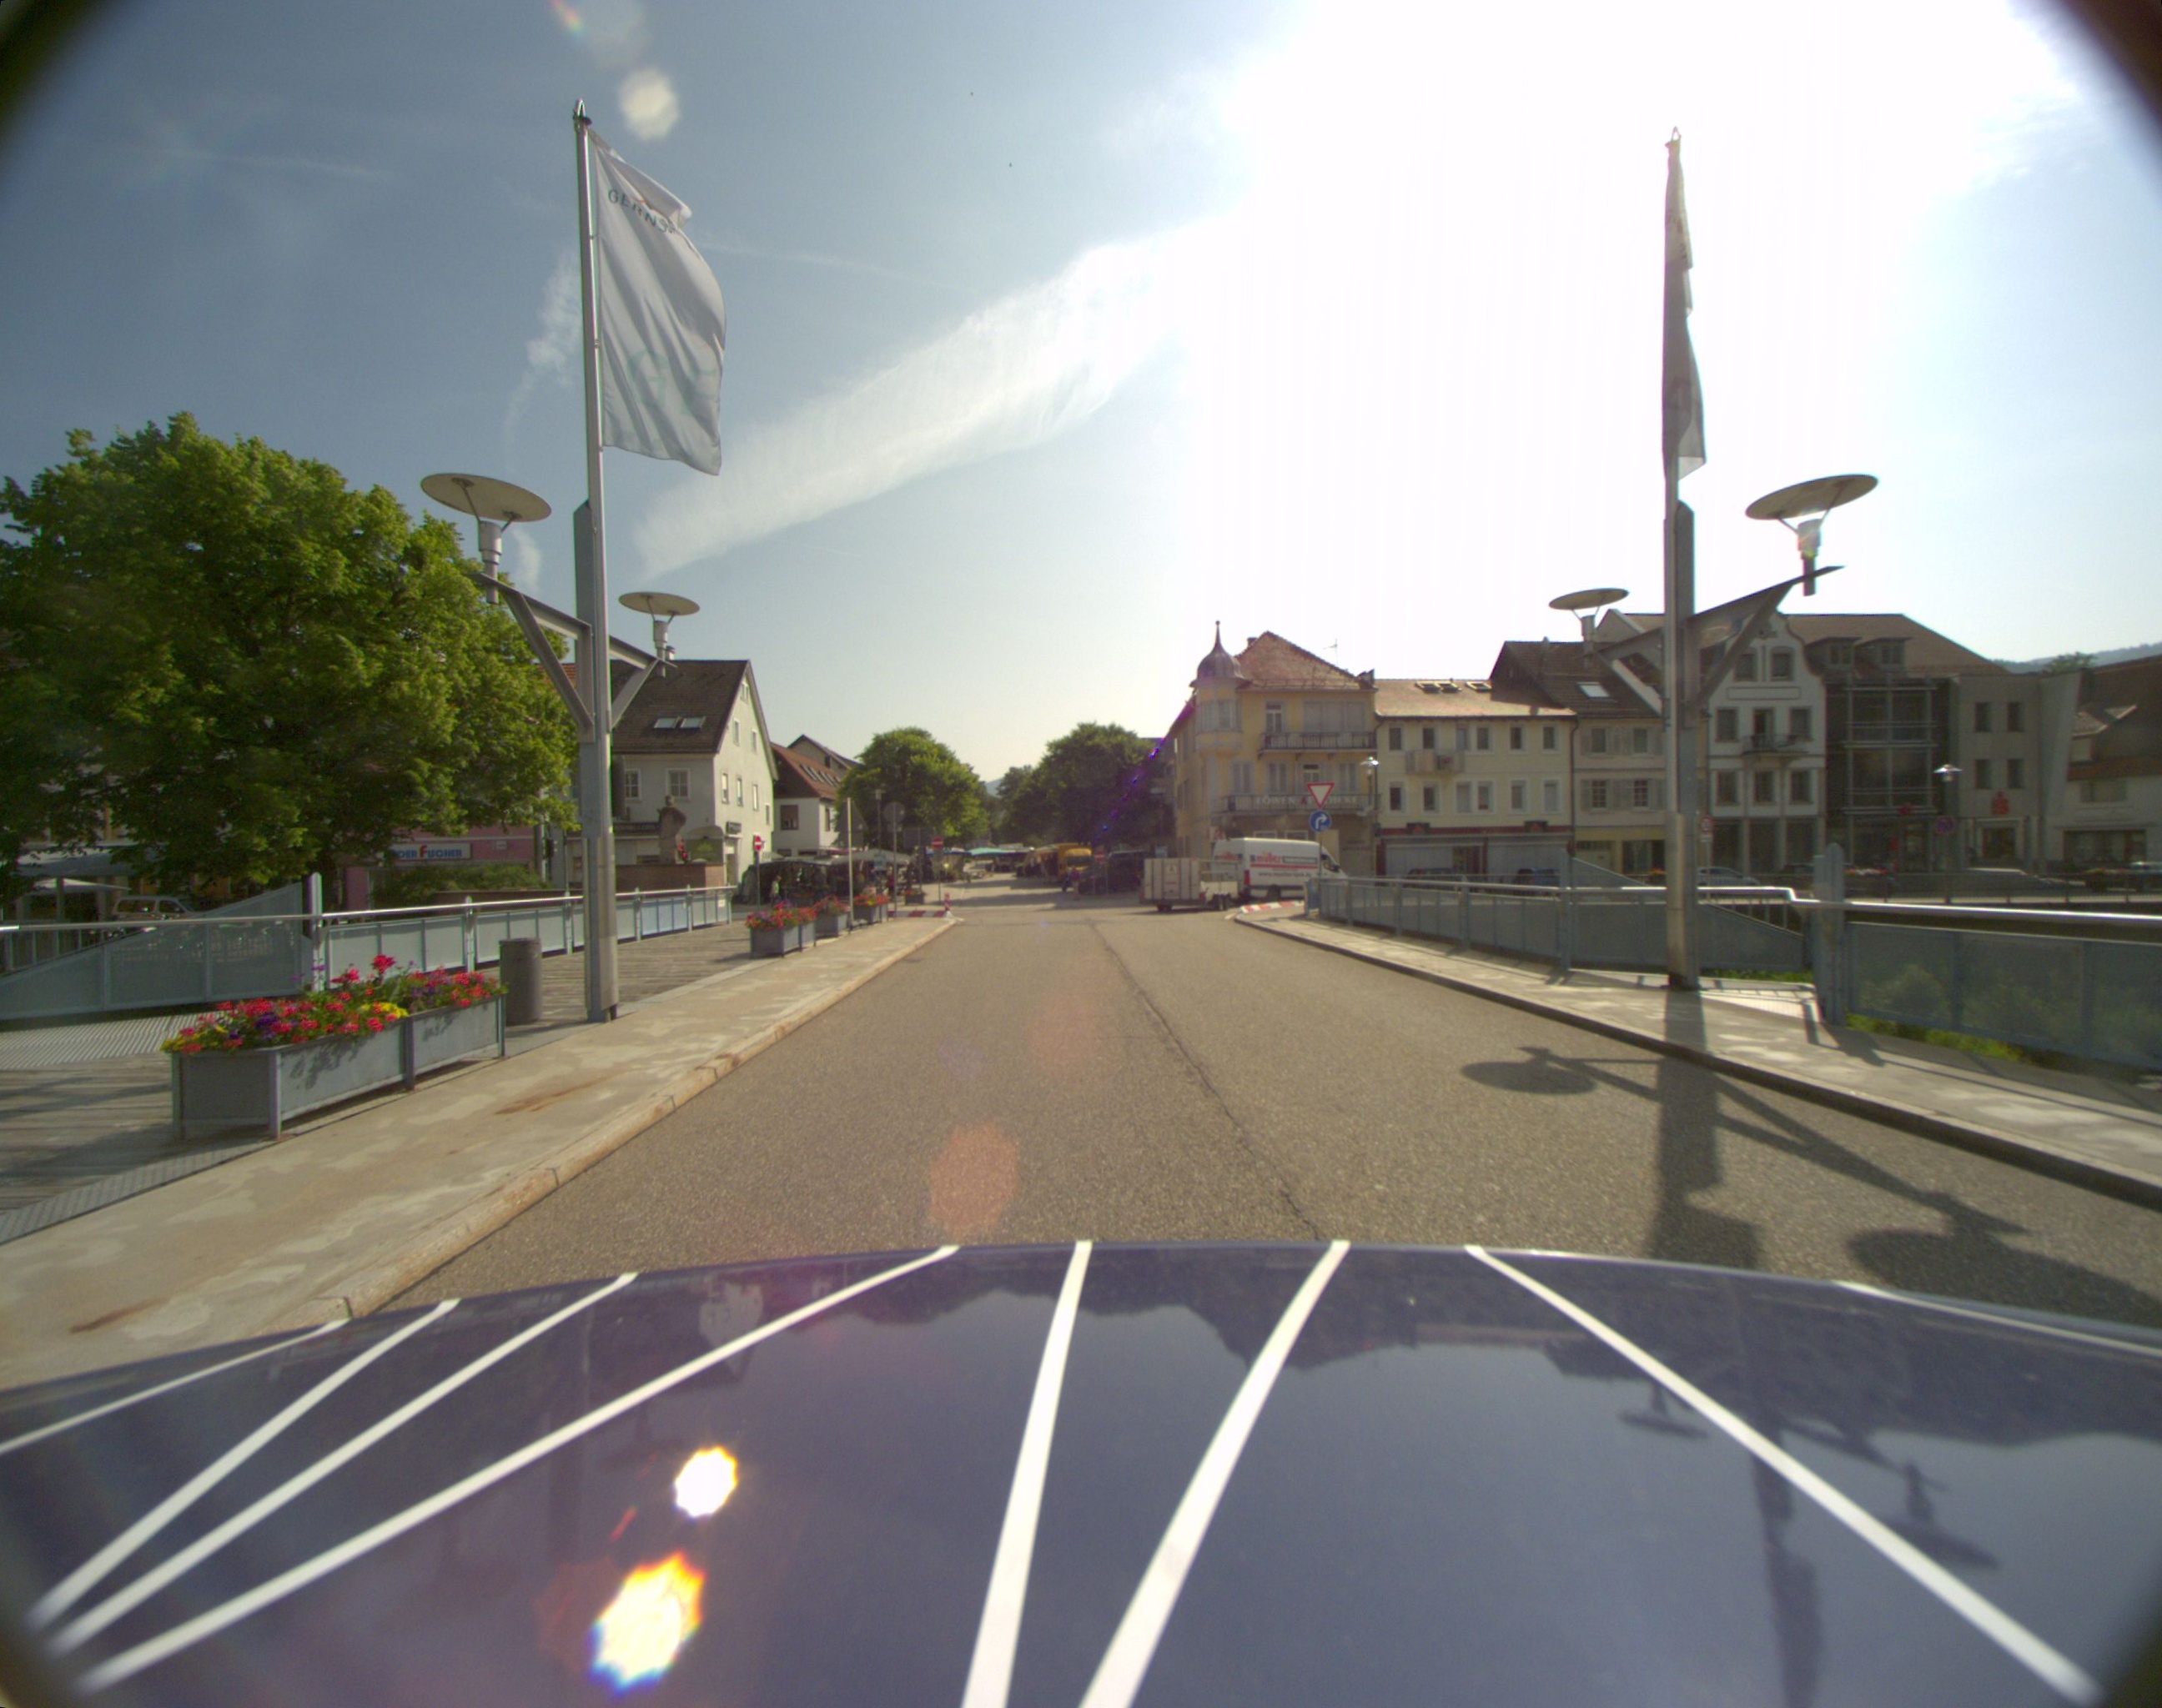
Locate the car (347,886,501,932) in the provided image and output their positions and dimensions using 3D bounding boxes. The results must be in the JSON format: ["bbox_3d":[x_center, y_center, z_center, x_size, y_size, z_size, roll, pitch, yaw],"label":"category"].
[{"bbox_3d":[-27.121,2.235,31.505,4.499,1.557,1.823,-2,2,-7],"label":"car"}]

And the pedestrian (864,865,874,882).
[{"bbox_3d":[-16.139,1.484,57.894,0.572,1.194,0.650,1,1,-3],"label":"pedestrian"}]

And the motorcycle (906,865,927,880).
[{"bbox_3d":[-12.951,1.444,59.754,1.532,1.189,0.643,1,0,-4],"label":"motorcycle"}]

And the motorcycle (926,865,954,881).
[{"bbox_3d":[-11.039,1.505,59.420,2.002,1.189,0.644,1,0,9],"label":"motorcycle"}]

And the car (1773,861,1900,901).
[{"bbox_3d":[32.564,1.131,32.809,3.969,1.551,1.683,-2,0,-4],"label":"car"}]

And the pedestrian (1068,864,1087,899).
[{"bbox_3d":[-0.167,1.391,38.367,0.678,1.705,0.618,-1,1,27],"label":"pedestrian"}]

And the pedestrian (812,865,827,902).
[{"bbox_3d":[-14.143,1.595,41.098,0.708,1.973,0.651,-1,0,-25],"label":"pedestrian"}]

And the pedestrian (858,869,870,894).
[{"bbox_3d":[-13.156,1.648,46.060,0.623,1.509,0.632,-1,0,-23],"label":"pedestrian"}]

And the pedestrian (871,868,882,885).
[{"bbox_3d":[-14.429,1.585,53.689,0.700,1.194,0.571,1,1,-18],"label":"pedestrian"}]

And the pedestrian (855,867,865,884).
[{"bbox_3d":[-15.972,1.538,54.988,0.572,1.194,0.650,1,1,-3],"label":"pedestrian"}]

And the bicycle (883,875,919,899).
[{"bbox_3d":[-9.870,1.826,41.696,1.864,1.228,0.616,-2,1,-17],"label":"bicycle"}]

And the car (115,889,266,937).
[{"bbox_3d":[-38.847,2.544,33.257,4.145,1.730,1.710,-2,2,-6],"label":"car"}]

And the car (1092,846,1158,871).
[{"bbox_3d":[3.532,0.389,61.458,5.072,1.880,1.999,-1,0,-8],"label":"car"}]

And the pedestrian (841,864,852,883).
[{"bbox_3d":[-17.174,1.421,55.648,0.626,1.323,0.699,1,1,-1],"label":"pedestrian"}]

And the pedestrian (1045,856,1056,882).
[{"bbox_3d":[-2.155,1.036,53.622,0.681,1.776,0.726,-3,2,-5],"label":"pedestrian"}]

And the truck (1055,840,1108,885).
[{"bbox_3d":[-0.112,0.474,52.877,3.009,2.742,8.856,-2,1,-4],"label":"truck"}]

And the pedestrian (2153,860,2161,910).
[{"bbox_3d":[36.866,1.060,25.546,0.491,1.696,0.791,-1,1,-2],"label":"pedestrian"}]

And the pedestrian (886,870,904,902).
[{"bbox_3d":[-9.895,1.710,40.386,0.884,1.649,0.571,1,1,-13],"label":"pedestrian"}]

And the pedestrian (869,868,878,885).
[{"bbox_3d":[-14.885,1.614,54.585,0.572,1.194,0.650,1,1,-14],"label":"pedestrian"}]

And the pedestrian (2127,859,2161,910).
[{"bbox_3d":[36.218,1.018,25.588,0.777,1.696,0.869,-1,1,-2],"label":"pedestrian"}]

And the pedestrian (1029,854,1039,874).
[{"bbox_3d":[-4.009,0.874,64.999,0.682,1.672,0.582,-4,0,-19],"label":"pedestrian"}]

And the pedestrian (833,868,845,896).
[{"bbox_3d":[-14.060,1.623,44.097,0.522,1.617,0.707,-1,0,-8],"label":"pedestrian"}]

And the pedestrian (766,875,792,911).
[{"bbox_3d":[-14.290,1.832,35.948,0.858,1.623,0.788,-2,3,-3],"label":"pedestrian"}]

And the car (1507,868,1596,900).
[{"bbox_3d":[22.939,1.439,37.132,3.275,1.439,1.752,-1,0,-5],"label":"car"}]

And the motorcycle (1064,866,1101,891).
[{"bbox_3d":[0.080,1.431,44.837,2.087,1.353,0.888,-4,1,-6],"label":"motorcycle"}]

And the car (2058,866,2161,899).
[{"bbox_3d":[49.333,1.322,35.977,4.198,1.348,1.756,-2,-1,-6],"label":"car"}]

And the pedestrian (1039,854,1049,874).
[{"bbox_3d":[-3.130,0.845,64.445,0.682,1.672,0.582,-4,2,-21],"label":"pedestrian"}]

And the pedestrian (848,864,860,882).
[{"bbox_3d":[-16.834,1.395,56.397,0.626,1.323,0.699,1,1,-1],"label":"pedestrian"}]

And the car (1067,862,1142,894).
[{"bbox_3d":[1.350,1.301,42.420,3.966,1.534,1.918,-4,2,-43],"label":"car"}]

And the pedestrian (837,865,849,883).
[{"bbox_3d":[-17.164,1.439,54.724,0.626,1.323,0.699,1,1,-1],"label":"pedestrian"}]

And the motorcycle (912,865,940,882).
[{"bbox_3d":[-11.930,1.497,58.679,2.002,1.189,0.644,1,1,9],"label":"motorcycle"}]

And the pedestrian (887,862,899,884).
[{"bbox_3d":[-13.518,1.338,54.645,0.699,1.544,0.572,1,1,2],"label":"pedestrian"}]

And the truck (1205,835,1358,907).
[{"bbox_3d":[8.420,0.693,31.424,7.148,2.682,2.107,1,-2,-37],"label":"truck"}]

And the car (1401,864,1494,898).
[{"bbox_3d":[17.646,1.276,36.694,3.567,1.559,1.852,-1,0,-5],"label":"car"}]

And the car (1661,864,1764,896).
[{"bbox_3d":[31.285,1.263,37.670,3.793,1.439,1.752,-1,0,-5],"label":"car"}]

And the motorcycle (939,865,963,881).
[{"bbox_3d":[-10.335,1.472,60.371,1.999,1.189,0.645,1,0,38],"label":"motorcycle"}]

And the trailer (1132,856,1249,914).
[{"bbox_3d":[4.041,1.016,26.947,2.612,1.816,5.648,-1,-1,25],"label":"trailer"}]
